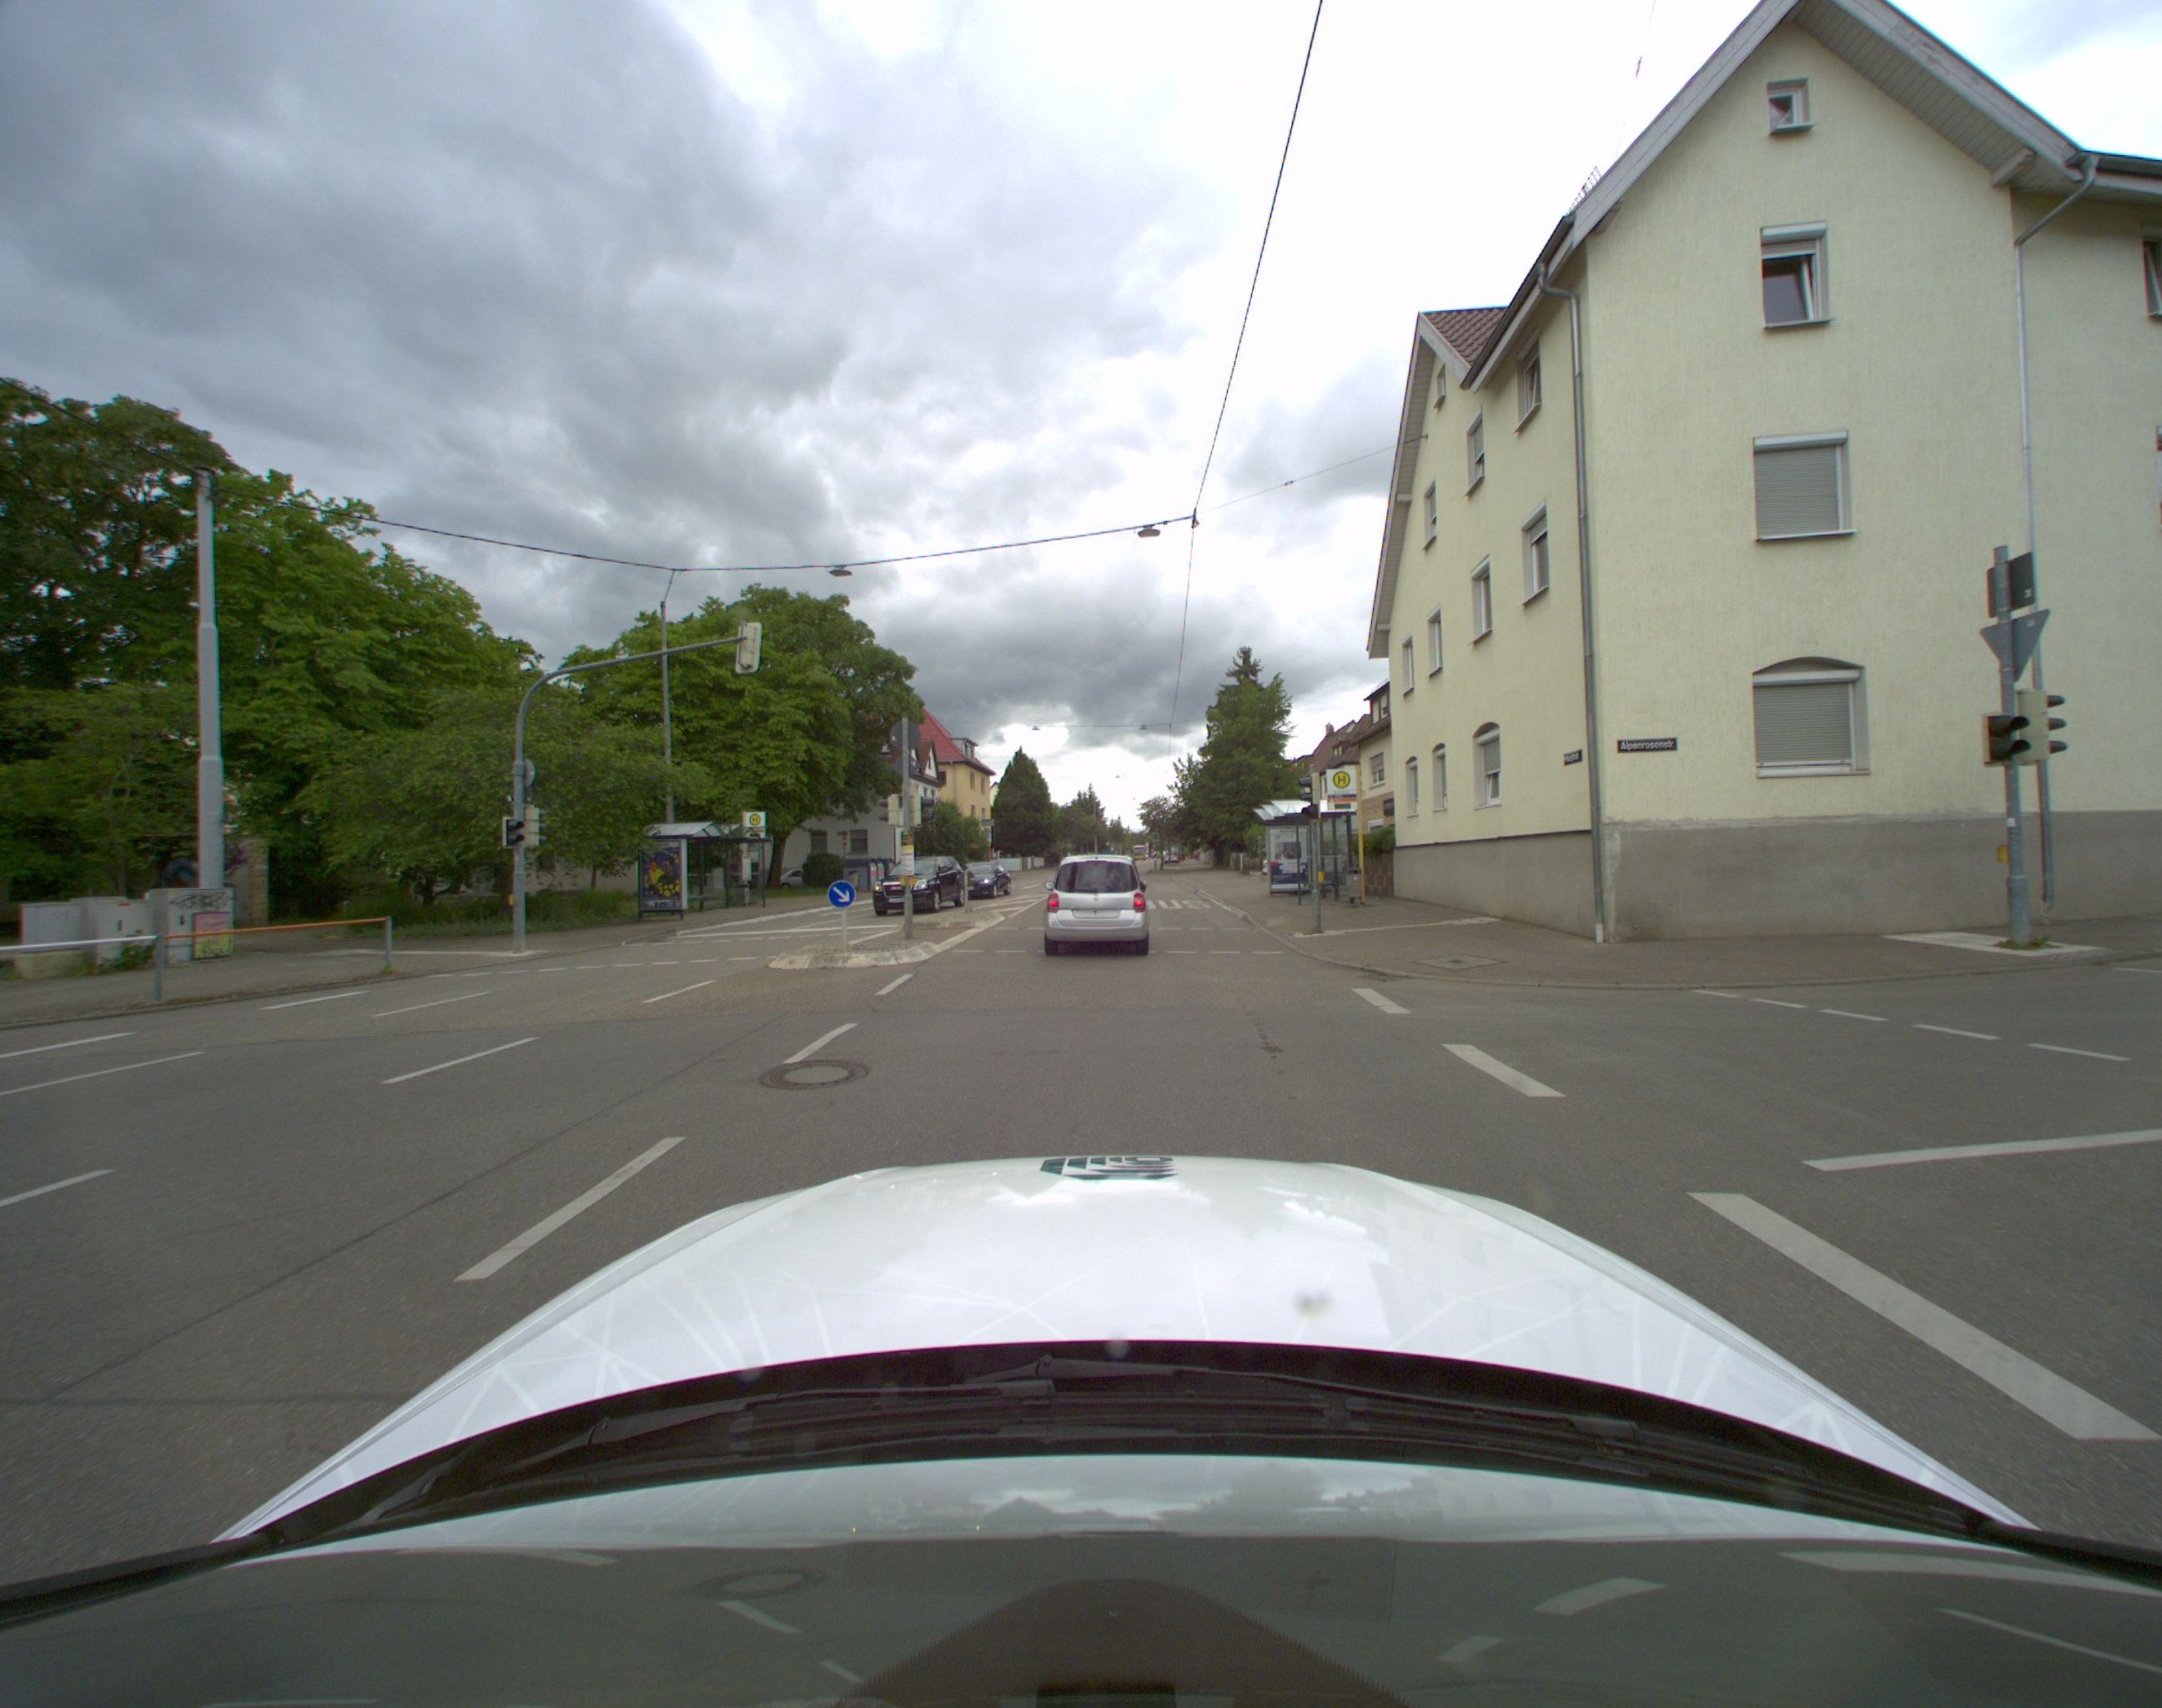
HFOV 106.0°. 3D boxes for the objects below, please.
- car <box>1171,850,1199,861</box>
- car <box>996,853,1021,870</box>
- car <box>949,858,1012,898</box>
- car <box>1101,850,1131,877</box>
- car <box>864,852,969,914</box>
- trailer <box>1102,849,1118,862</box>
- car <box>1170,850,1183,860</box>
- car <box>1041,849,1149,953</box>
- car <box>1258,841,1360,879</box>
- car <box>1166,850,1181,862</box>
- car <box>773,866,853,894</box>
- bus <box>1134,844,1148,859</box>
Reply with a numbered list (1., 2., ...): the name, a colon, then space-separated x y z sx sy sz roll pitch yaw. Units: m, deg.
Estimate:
1. car: 16.312 0.217 128.093 3.976 1.496 1.809 -5 -1 -2
2. car: -7.616 0.757 86.007 1.798 1.564 4.622 -4 0 3
3. car: -3.944 0.935 32.536 1.556 1.420 4.137 -2 -1 6
4. car: 2.298 0.647 54.444 1.823 1.675 3.574 -2 0 0
5. car: -4.938 0.856 25.145 1.749 1.635 4.603 -4 -1 6
6. trailer: 4.868 0.286 136.640 2.300 2.087 5.881 0 -1 6
7. car: 13.484 0.141 115.295 1.652 1.393 3.677 -2 0 9
8. car: 0.206 0.745 14.302 1.625 1.557 3.999 0 -1 0
9. car: 10.920 0.301 39.228 4.398 1.488 1.868 -3 -1 5
10. car: 10.948 0.255 96.179 1.641 1.382 4.008 -1 -1 8
11. car: -15.640 1.511 47.630 3.968 1.332 1.724 -4 -2 4
12. bus: 13.169 -0.515 177.853 2.619 3.086 12.087 -3 0 5
